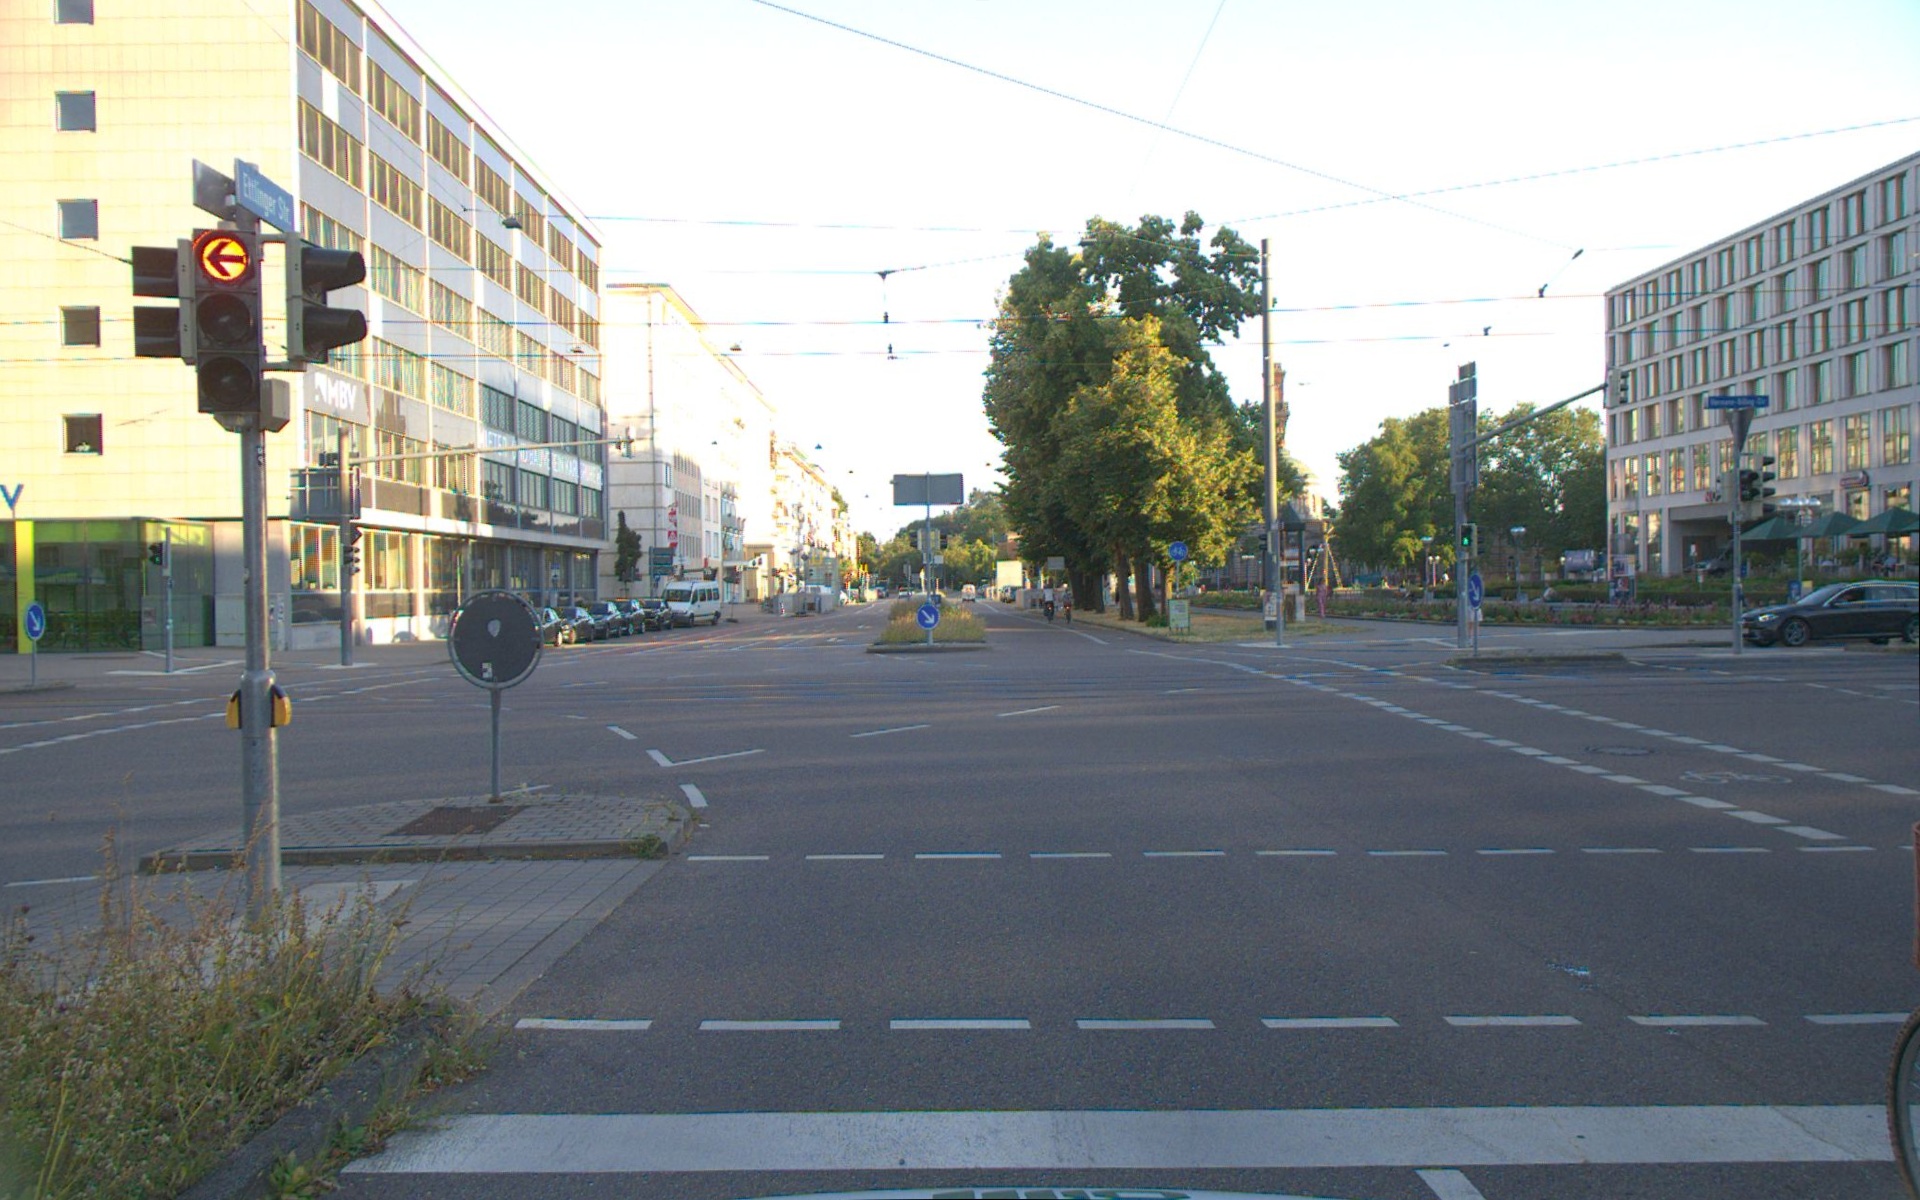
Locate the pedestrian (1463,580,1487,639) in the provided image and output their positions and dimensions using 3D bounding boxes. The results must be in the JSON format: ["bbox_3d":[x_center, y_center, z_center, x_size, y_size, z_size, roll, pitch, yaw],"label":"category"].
[{"bbox_3d":[13.635,0.250,43.810,0.480,1.566,0.408,-1,0,-1],"label":"pedestrian"}]

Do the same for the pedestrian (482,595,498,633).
[{"bbox_3d":[-21.297,0.613,74.883,0.540,1.708,0.500,-1,0,-1],"label":"pedestrian"}]

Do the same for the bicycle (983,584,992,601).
[{"bbox_3d":[3.459,-0.979,208.462,0.981,2.049,4.002,-1,0,4],"label":"bicycle"}]

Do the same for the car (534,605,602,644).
[{"bbox_3d":[-16.108,0.986,68.177,1.882,1.489,3.999,-1,0,-1],"label":"car"}]

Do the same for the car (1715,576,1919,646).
[{"bbox_3d":[21.053,0.242,39.937,4.724,1.542,2.000,-1,0,1],"label":"car"}]

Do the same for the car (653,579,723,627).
[{"bbox_3d":[-14.931,0.138,91.002,1.958,2.521,5.873,-1,0,9],"label":"car"}]

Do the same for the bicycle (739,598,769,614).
[{"bbox_3d":[-15.576,0.458,125.243,2.161,1.131,0.618,-1,0,-3],"label":"bicycle"}]

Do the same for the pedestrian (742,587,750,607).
[{"bbox_3d":[-21.251,-0.298,164.310,0.666,2.049,0.545,-1,0,-1],"label":"pedestrian"}]

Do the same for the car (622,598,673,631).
[{"bbox_3d":[-15.950,0.726,84.527,1.882,1.595,3.999,-1,0,-1],"label":"car"}]

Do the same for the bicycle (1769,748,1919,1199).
[{"bbox_3d":[2.185,0.927,2.826,0.599,1.152,2.004,1,0,-1],"label":"bicycle"}]

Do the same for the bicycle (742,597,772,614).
[{"bbox_3d":[-15.785,0.428,128.634,2.161,1.258,0.839,-1,0,-2],"label":"bicycle"}]

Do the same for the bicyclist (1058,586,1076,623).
[{"bbox_3d":[5.015,0.190,77.625,0.731,1.720,0.799,-1,0,-1],"label":"bicyclist"}]

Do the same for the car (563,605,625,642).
[{"bbox_3d":[-16.128,1.006,72.991,1.882,1.489,3.999,-1,0,-1],"label":"car"}]

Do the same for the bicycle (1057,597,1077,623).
[{"bbox_3d":[5.022,0.468,77.707,0.731,1.164,2.505,-1,0,-1],"label":"bicycle"}]

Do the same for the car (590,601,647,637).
[{"bbox_3d":[-16.124,0.875,78.295,1.882,1.595,3.999,-1,0,-1],"label":"car"}]

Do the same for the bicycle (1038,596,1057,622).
[{"bbox_3d":[4.095,0.424,77.666,0.731,1.164,2.505,-1,0,-1],"label":"bicycle"}]

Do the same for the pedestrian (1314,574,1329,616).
[{"bbox_3d":[14.587,-0.211,66.771,0.451,1.685,0.566,-1,0,-1],"label":"pedestrian"}]

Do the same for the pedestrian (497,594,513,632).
[{"bbox_3d":[-20.721,0.603,75.351,0.540,1.708,0.500,-1,0,-1],"label":"pedestrian"}]

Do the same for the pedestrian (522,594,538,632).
[{"bbox_3d":[-19.529,0.589,75.089,0.540,1.708,0.500,-1,0,-1],"label":"pedestrian"}]

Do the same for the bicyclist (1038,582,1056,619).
[{"bbox_3d":[4.057,0.006,77.453,0.731,1.692,0.873,-1,0,-1],"label":"bicyclist"}]

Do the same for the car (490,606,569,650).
[{"bbox_3d":[-16.000,1.026,61.682,1.882,1.489,4.102,-1,0,-1],"label":"car"}]

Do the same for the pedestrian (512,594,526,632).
[{"bbox_3d":[-20.138,0.577,75.551,0.490,1.708,0.500,-1,0,-1],"label":"pedestrian"}]

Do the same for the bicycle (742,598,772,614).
[{"bbox_3d":[-15.565,0.469,126.755,2.161,1.131,0.689,-1,0,-2],"label":"bicycle"}]

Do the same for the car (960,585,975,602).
[{"bbox_3d":[0.729,-0.654,166.804,1.379,1.670,3.998,-1,0,-2],"label":"car"}]
